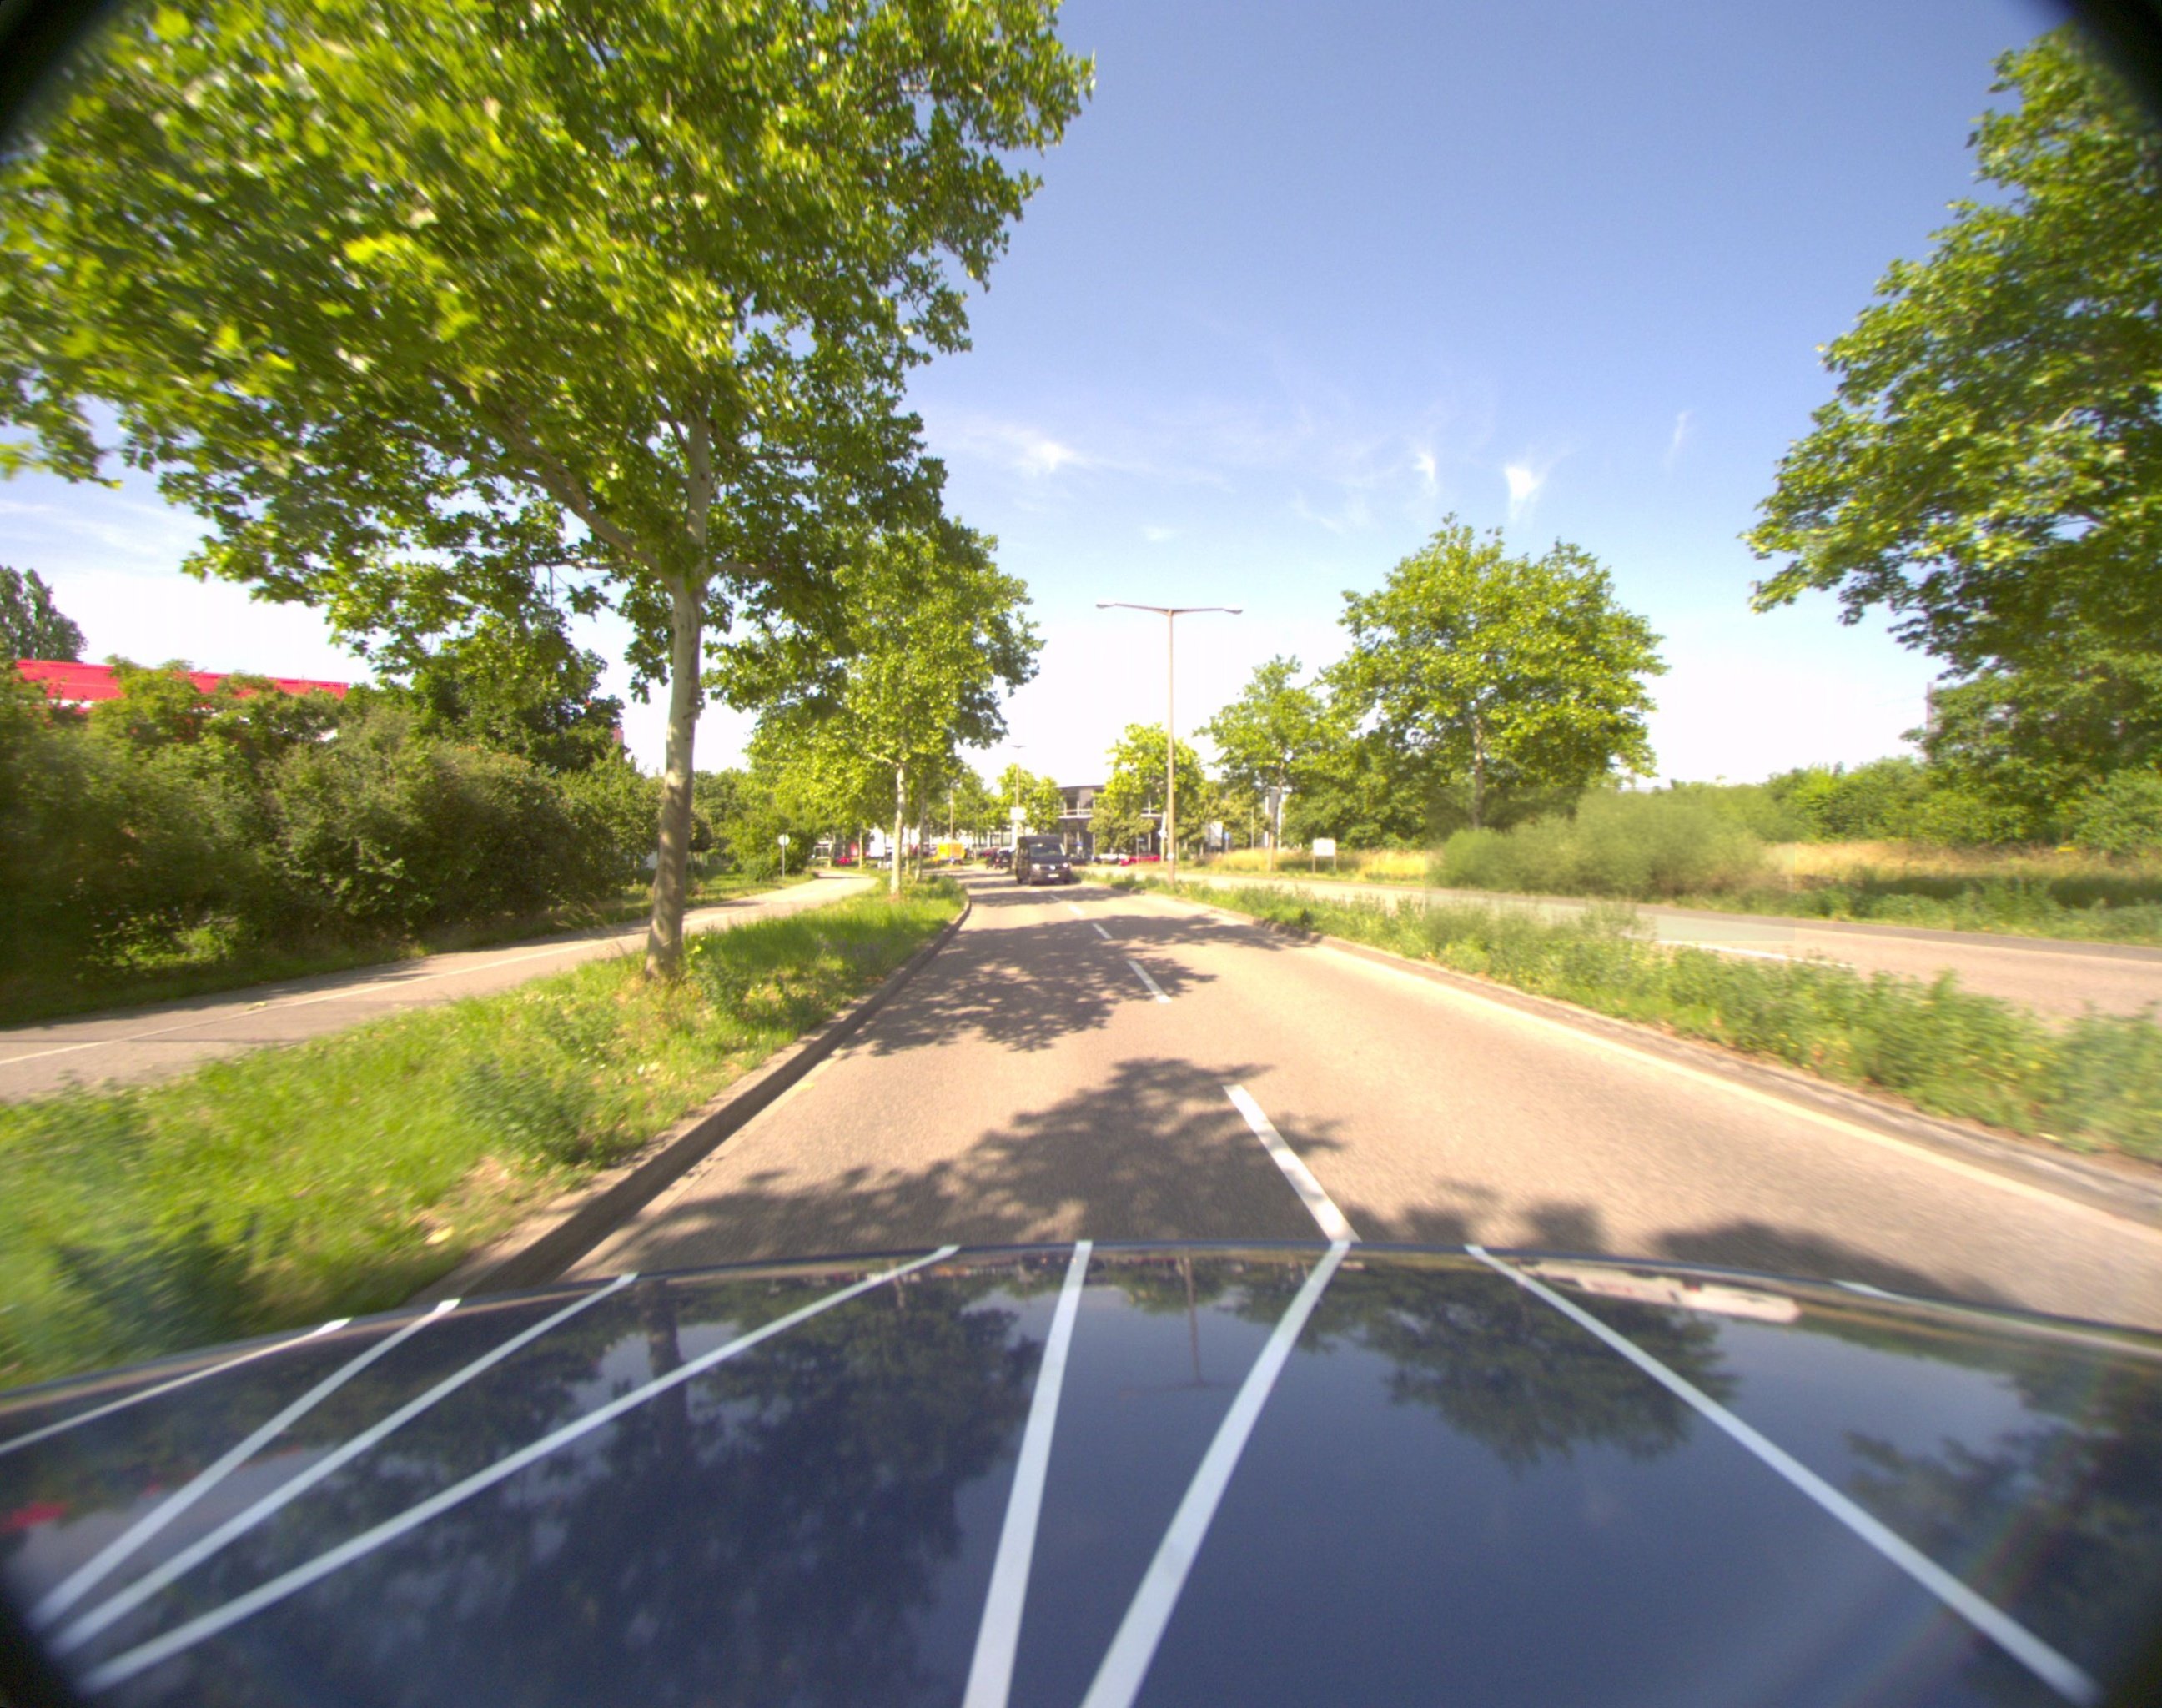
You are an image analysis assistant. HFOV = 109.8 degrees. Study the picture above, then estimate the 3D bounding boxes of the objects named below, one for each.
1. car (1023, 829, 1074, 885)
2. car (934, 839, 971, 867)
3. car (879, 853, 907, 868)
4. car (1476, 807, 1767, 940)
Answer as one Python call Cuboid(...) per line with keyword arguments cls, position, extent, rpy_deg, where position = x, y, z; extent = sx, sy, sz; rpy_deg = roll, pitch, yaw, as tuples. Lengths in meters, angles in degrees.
Cuboid(cls="car", position=(-1.764, 0.163, 38.946), extent=(2.022, 2.592, 6.164), rpy_deg=(-1, 0, -8))
Cuboid(cls="car", position=(-16.405, -0.087, 97.009), extent=(2.790, 3.412, 5.997), rpy_deg=(-3, 1, -27))
Cuboid(cls="car", position=(-20.436, 0.716, 82.574), extent=(1.828, 1.512, 4.198), rpy_deg=(-2, 1, -30))
Cuboid(cls="car", position=(9.543, 0.282, 14.004), extent=(1.999, 2.002, 4.515), rpy_deg=(-1, 0, -2))
